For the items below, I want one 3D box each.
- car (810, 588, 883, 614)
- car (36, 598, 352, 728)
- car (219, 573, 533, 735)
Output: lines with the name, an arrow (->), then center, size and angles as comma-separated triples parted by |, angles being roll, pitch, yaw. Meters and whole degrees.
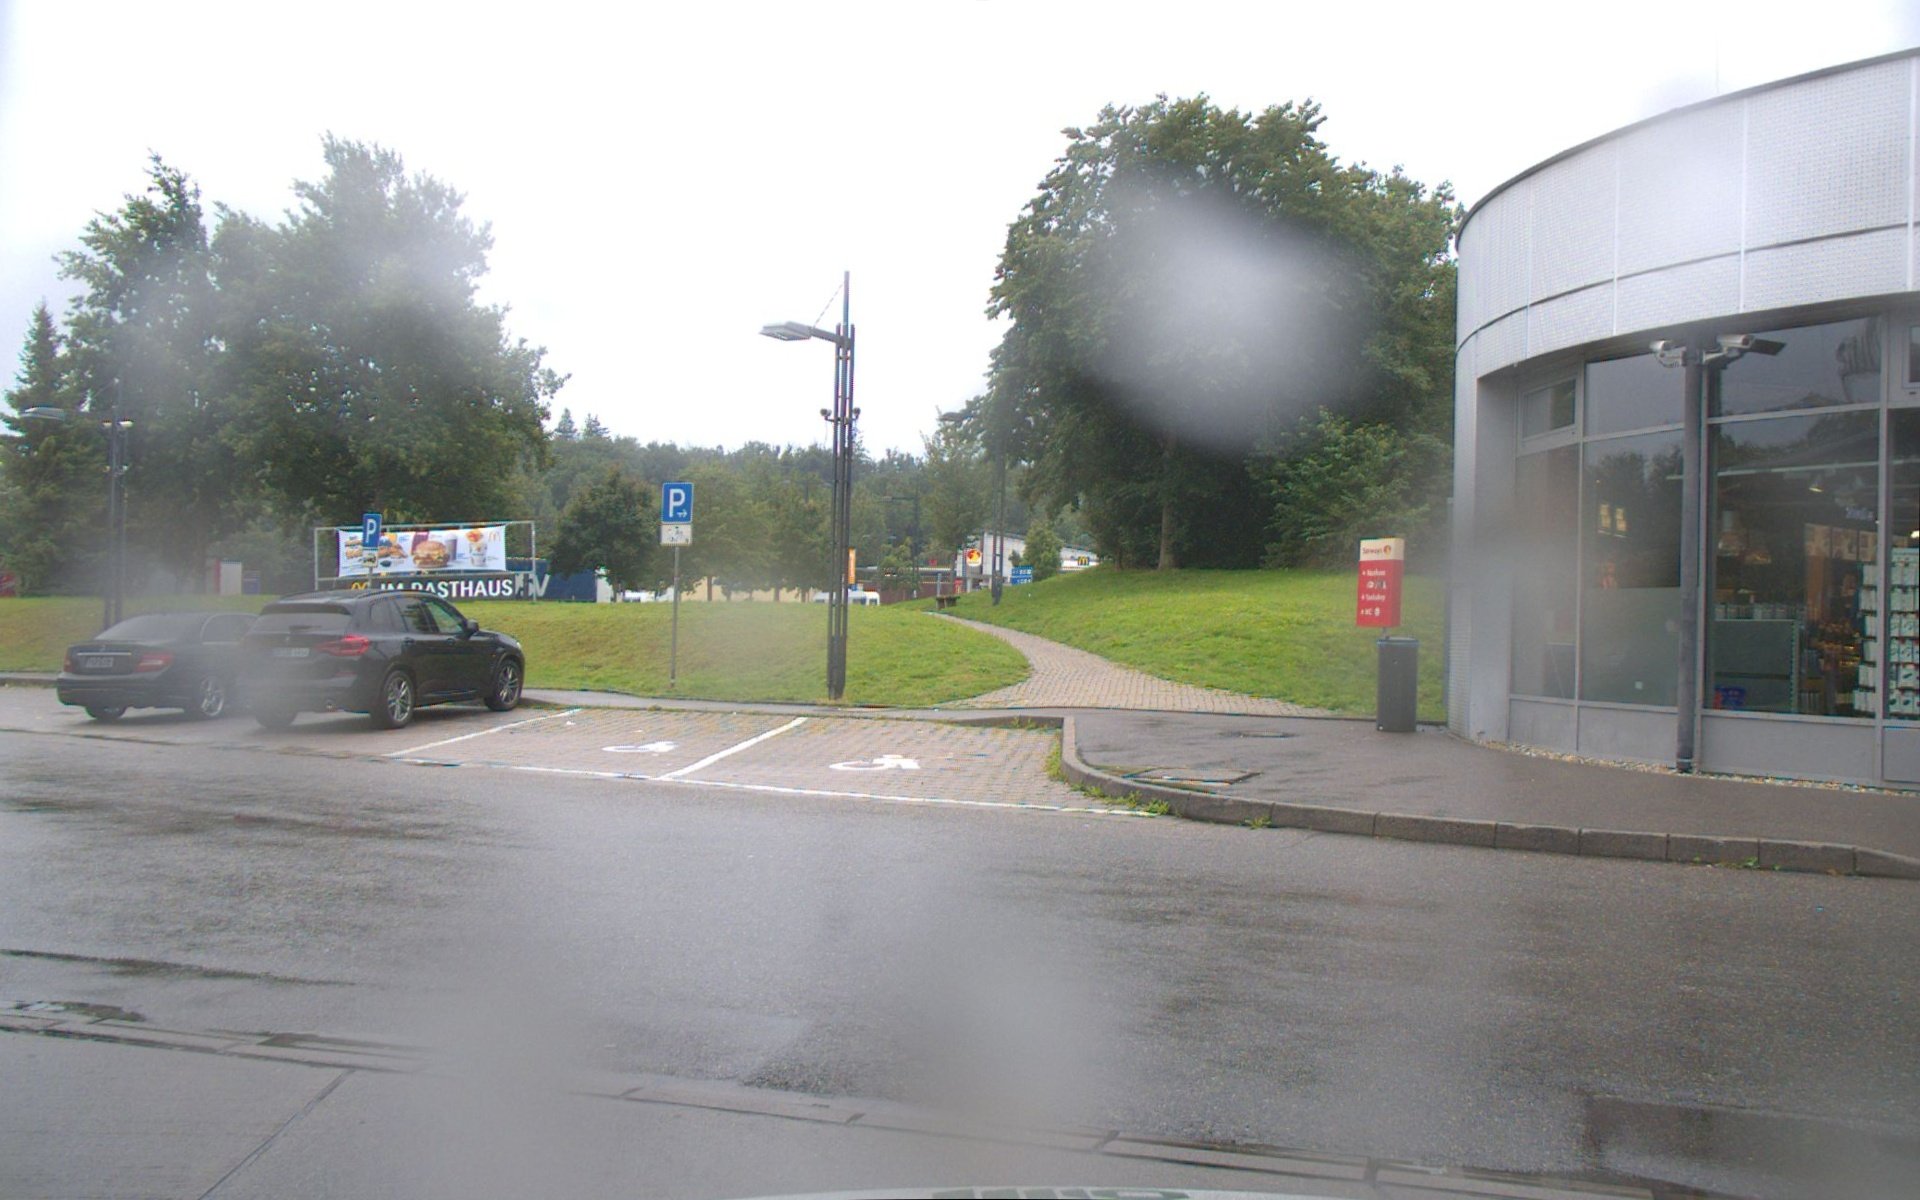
car -> -9.169, 0.076, 133.618 | 5.310, 2.049, 2.456 | 1, 0, 19
car -> -10.357, 0.785, 22.748 | 1.844, 1.592, 4.189 | 0, 0, 11
car -> -7.332, 0.612, 21.309 | 1.844, 1.860, 4.417 | 0, 0, 11
